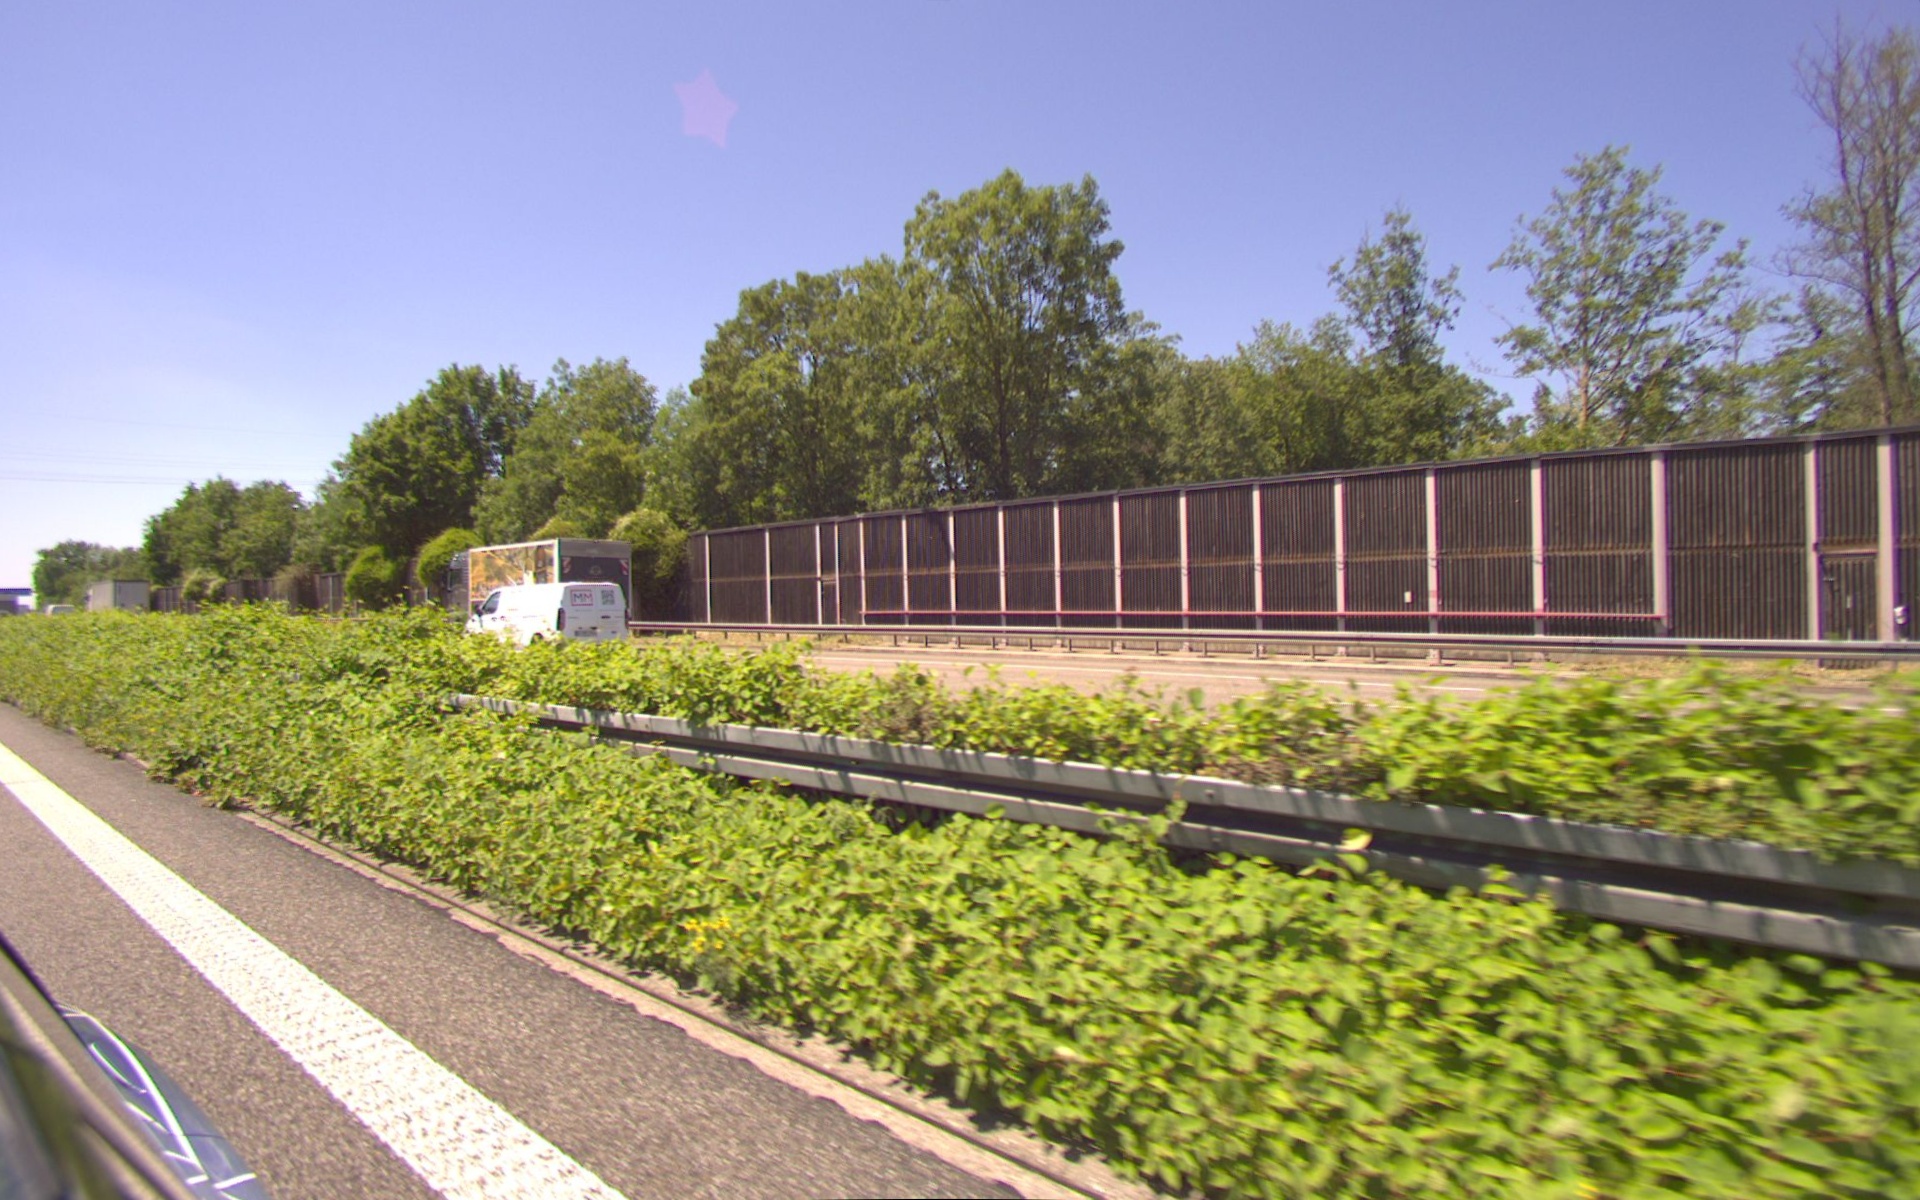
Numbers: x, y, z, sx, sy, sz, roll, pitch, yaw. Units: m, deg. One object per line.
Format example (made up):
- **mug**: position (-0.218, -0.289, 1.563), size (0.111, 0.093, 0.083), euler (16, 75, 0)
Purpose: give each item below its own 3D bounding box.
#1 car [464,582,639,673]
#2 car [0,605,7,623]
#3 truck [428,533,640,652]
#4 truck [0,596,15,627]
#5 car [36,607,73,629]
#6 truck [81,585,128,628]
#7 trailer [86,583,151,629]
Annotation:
- **car**: position (-10.116, 0.644, 24.868), size (5.101, 2.029, 1.972), euler (-1, -1, 42)
- **car**: position (-77.112, 1.154, 80.437), size (3.912, 1.401, 1.609), euler (-1, -1, 41)
- **truck**: position (-15.129, -0.181, 35.346), size (9.948, 3.632, 2.840), euler (-1, -1, 42)
- **truck**: position (-100.982, 1.228, 106.078), size (8.532, 3.138, 2.170), euler (-1, -1, 42)
- **car**: position (-77.697, 1.545, 86.804), size (4.815, 1.834, 1.848), euler (-1, -1, 42)
- **truck**: position (-81.882, 0.639, 96.811), size (5.571, 3.924, 2.658), euler (-1, -1, 42)
- **trailer**: position (-76.706, 0.583, 92.096), size (13.758, 3.939, 2.700), euler (-1, -1, 42)
